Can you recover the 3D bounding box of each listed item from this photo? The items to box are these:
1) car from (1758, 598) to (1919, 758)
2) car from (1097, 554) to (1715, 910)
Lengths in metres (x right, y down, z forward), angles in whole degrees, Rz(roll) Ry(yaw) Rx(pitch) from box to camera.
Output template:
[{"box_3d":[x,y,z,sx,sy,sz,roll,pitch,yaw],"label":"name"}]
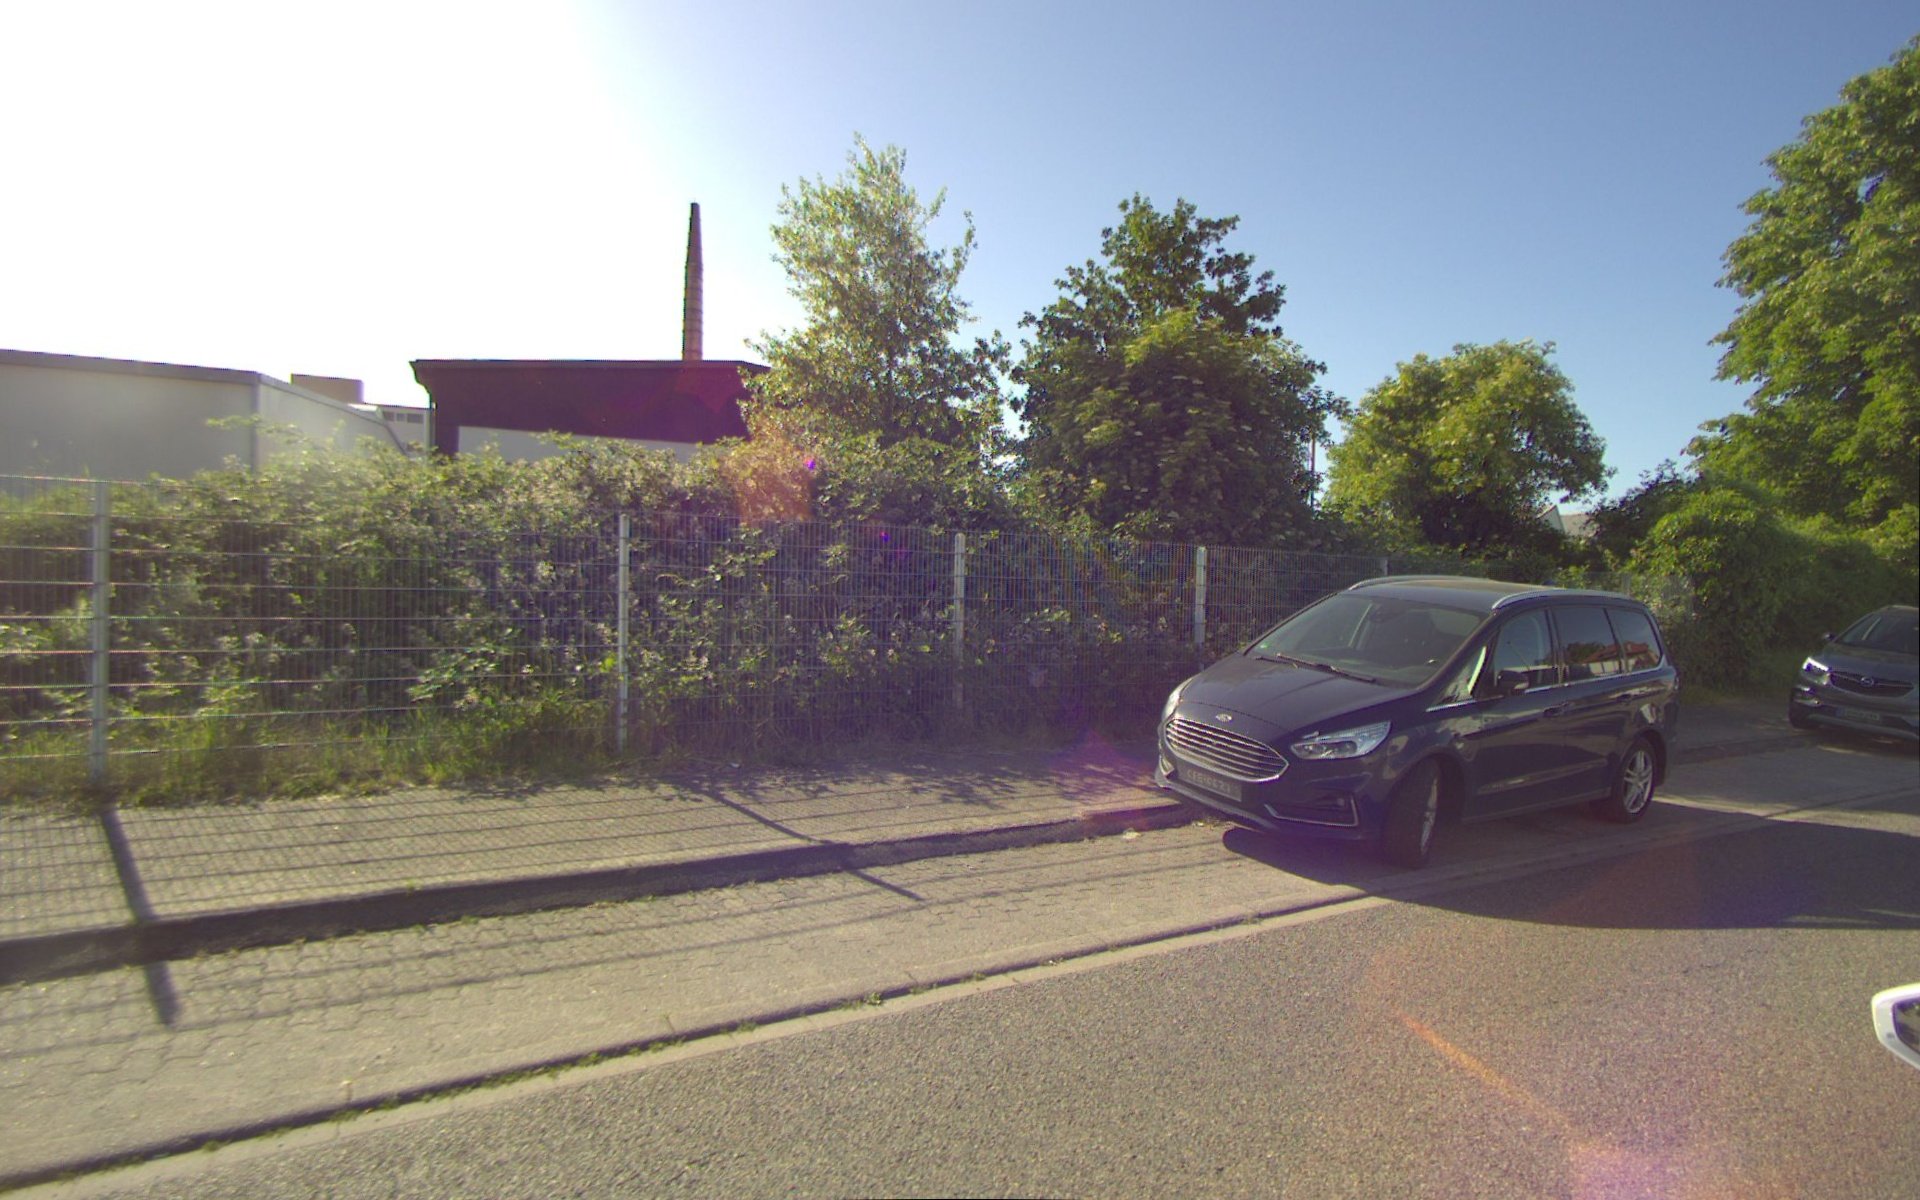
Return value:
[{"box_3d":[12.489,0.926,13.046,4.415,1.685,1.896,1,5,-33],"label":"car"},{"box_3d":[3.440,0.707,7.389,4.753,1.754,1.780,1,7,-35],"label":"car"}]
